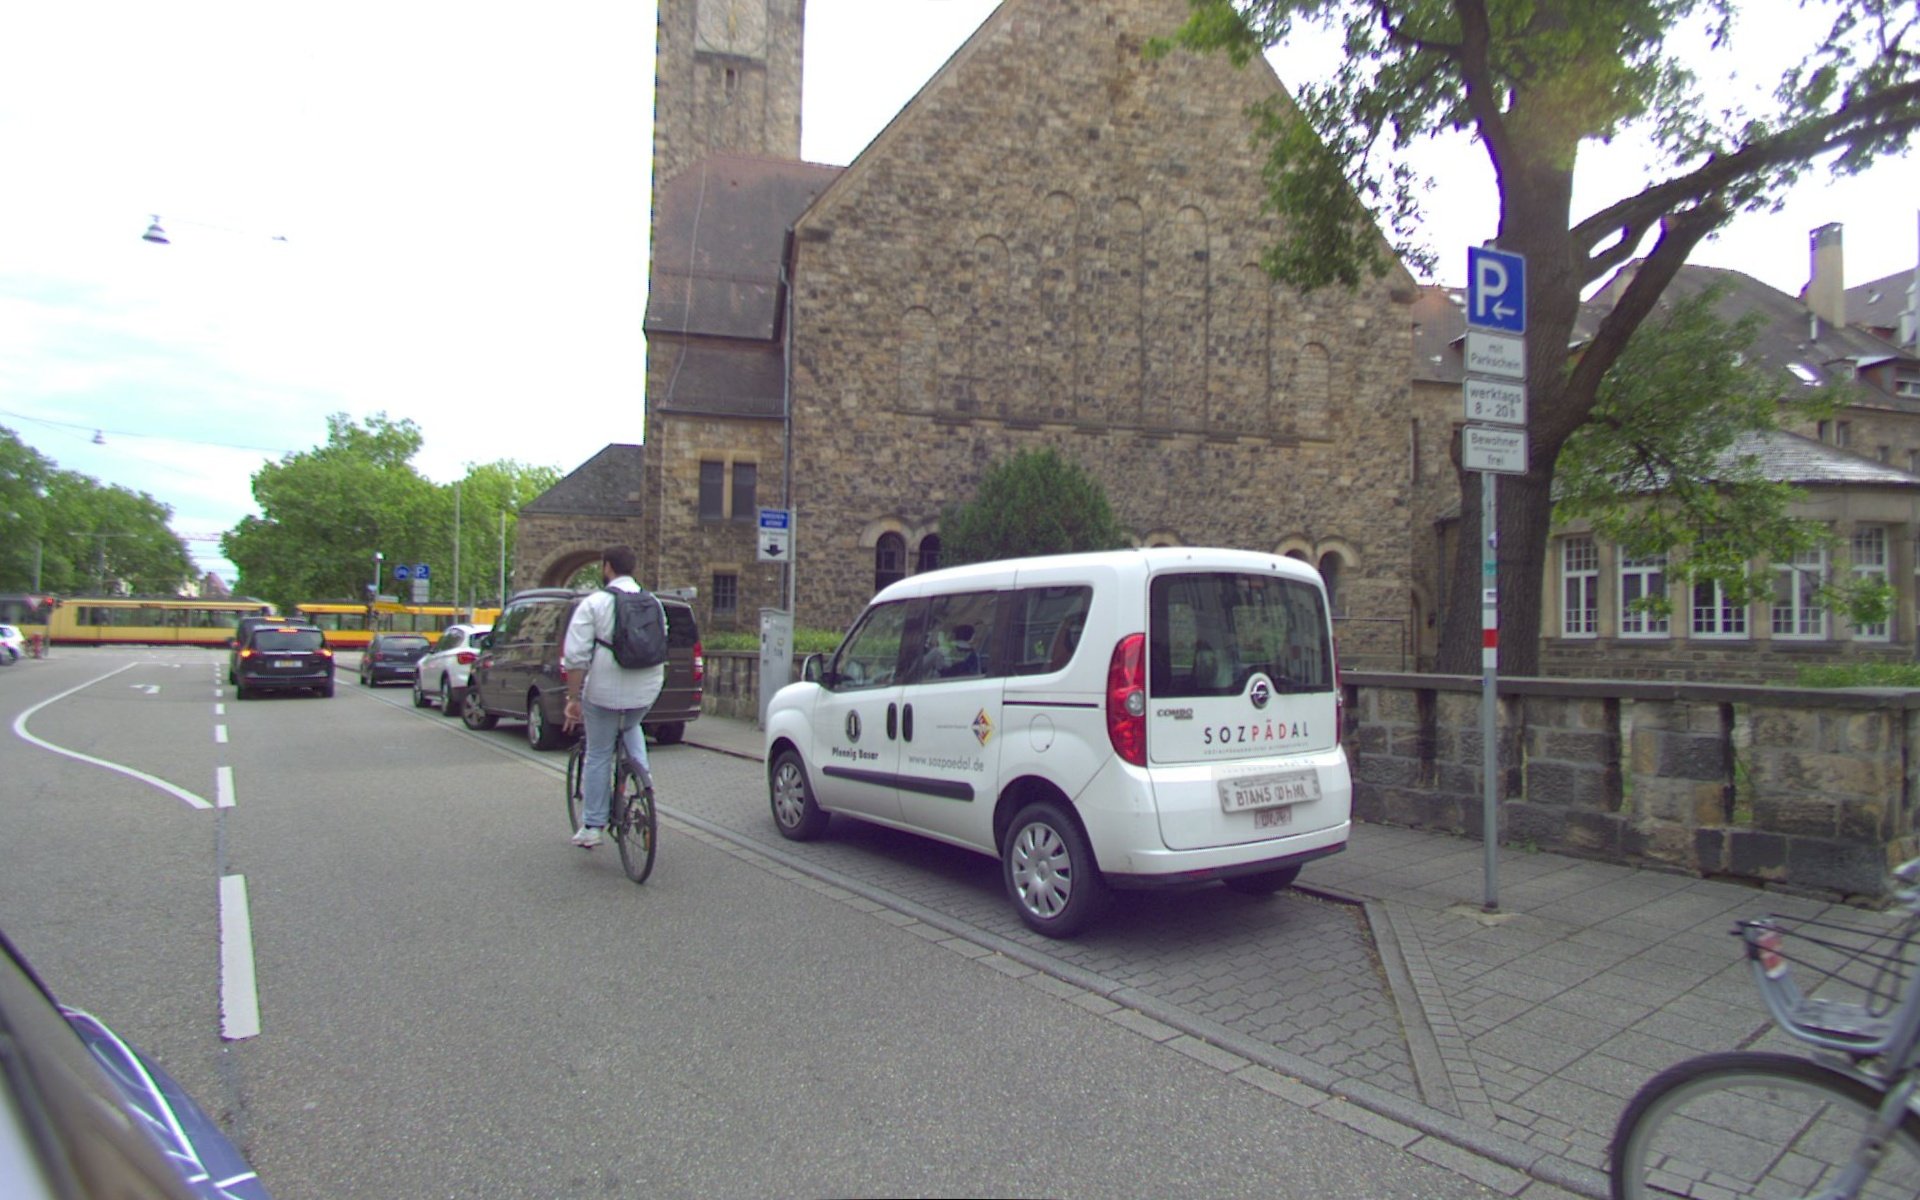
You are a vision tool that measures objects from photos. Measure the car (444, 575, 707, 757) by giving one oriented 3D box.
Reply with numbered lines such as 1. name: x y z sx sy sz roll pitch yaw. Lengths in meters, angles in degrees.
1. car: -5.509 0.847 14.009 1.987 2.029 5.194 2 -3 -37

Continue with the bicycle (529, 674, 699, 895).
1. bicycle: -2.216 1.041 6.316 0.559 1.096 1.992 2 -3 -31

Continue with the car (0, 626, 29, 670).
1. car: -39.341 1.795 39.299 1.901 1.695 4.197 2 -4 19

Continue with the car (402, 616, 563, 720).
1. car: -9.026 1.220 18.925 1.819 1.701 4.441 2 -4 -37

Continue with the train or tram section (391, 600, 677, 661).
1. train or tram section: -31.899 2.343 76.993 19.622 4.124 3.636 2 -2 -10

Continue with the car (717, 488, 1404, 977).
1. car: 0.184 0.624 6.461 1.818 1.954 4.559 2 -3 -35

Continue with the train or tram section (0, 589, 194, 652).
1. train or tram section: -63.330 1.437 71.225 14.793 4.124 3.663 2 -2 -10

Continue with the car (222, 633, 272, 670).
1. car: -32.037 2.326 45.427 1.627 1.540 3.902 5 -6 -36

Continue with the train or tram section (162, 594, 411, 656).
1. train or tram section: -48.778 1.847 73.888 14.793 4.124 3.589 2 -2 -10

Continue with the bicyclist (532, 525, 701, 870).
1. bicyclist: -2.054 0.551 6.035 0.771 1.880 0.716 2 -3 -32

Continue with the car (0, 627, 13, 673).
1. car: -37.567 1.675 36.398 1.920 1.698 4.725 2 -4 17

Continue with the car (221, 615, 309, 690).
1. car: -20.157 1.493 29.248 1.887 1.969 5.295 2 -3 -36

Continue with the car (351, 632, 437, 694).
1. car: -15.740 1.678 28.073 1.624 1.520 3.780 1 -1 -36

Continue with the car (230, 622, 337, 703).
1. car: -15.810 1.414 23.547 1.820 1.697 4.558 2 -3 -36

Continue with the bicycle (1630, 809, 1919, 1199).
1. bicycle: 2.057 0.939 1.368 1.865 0.985 0.529 0 -2 43
